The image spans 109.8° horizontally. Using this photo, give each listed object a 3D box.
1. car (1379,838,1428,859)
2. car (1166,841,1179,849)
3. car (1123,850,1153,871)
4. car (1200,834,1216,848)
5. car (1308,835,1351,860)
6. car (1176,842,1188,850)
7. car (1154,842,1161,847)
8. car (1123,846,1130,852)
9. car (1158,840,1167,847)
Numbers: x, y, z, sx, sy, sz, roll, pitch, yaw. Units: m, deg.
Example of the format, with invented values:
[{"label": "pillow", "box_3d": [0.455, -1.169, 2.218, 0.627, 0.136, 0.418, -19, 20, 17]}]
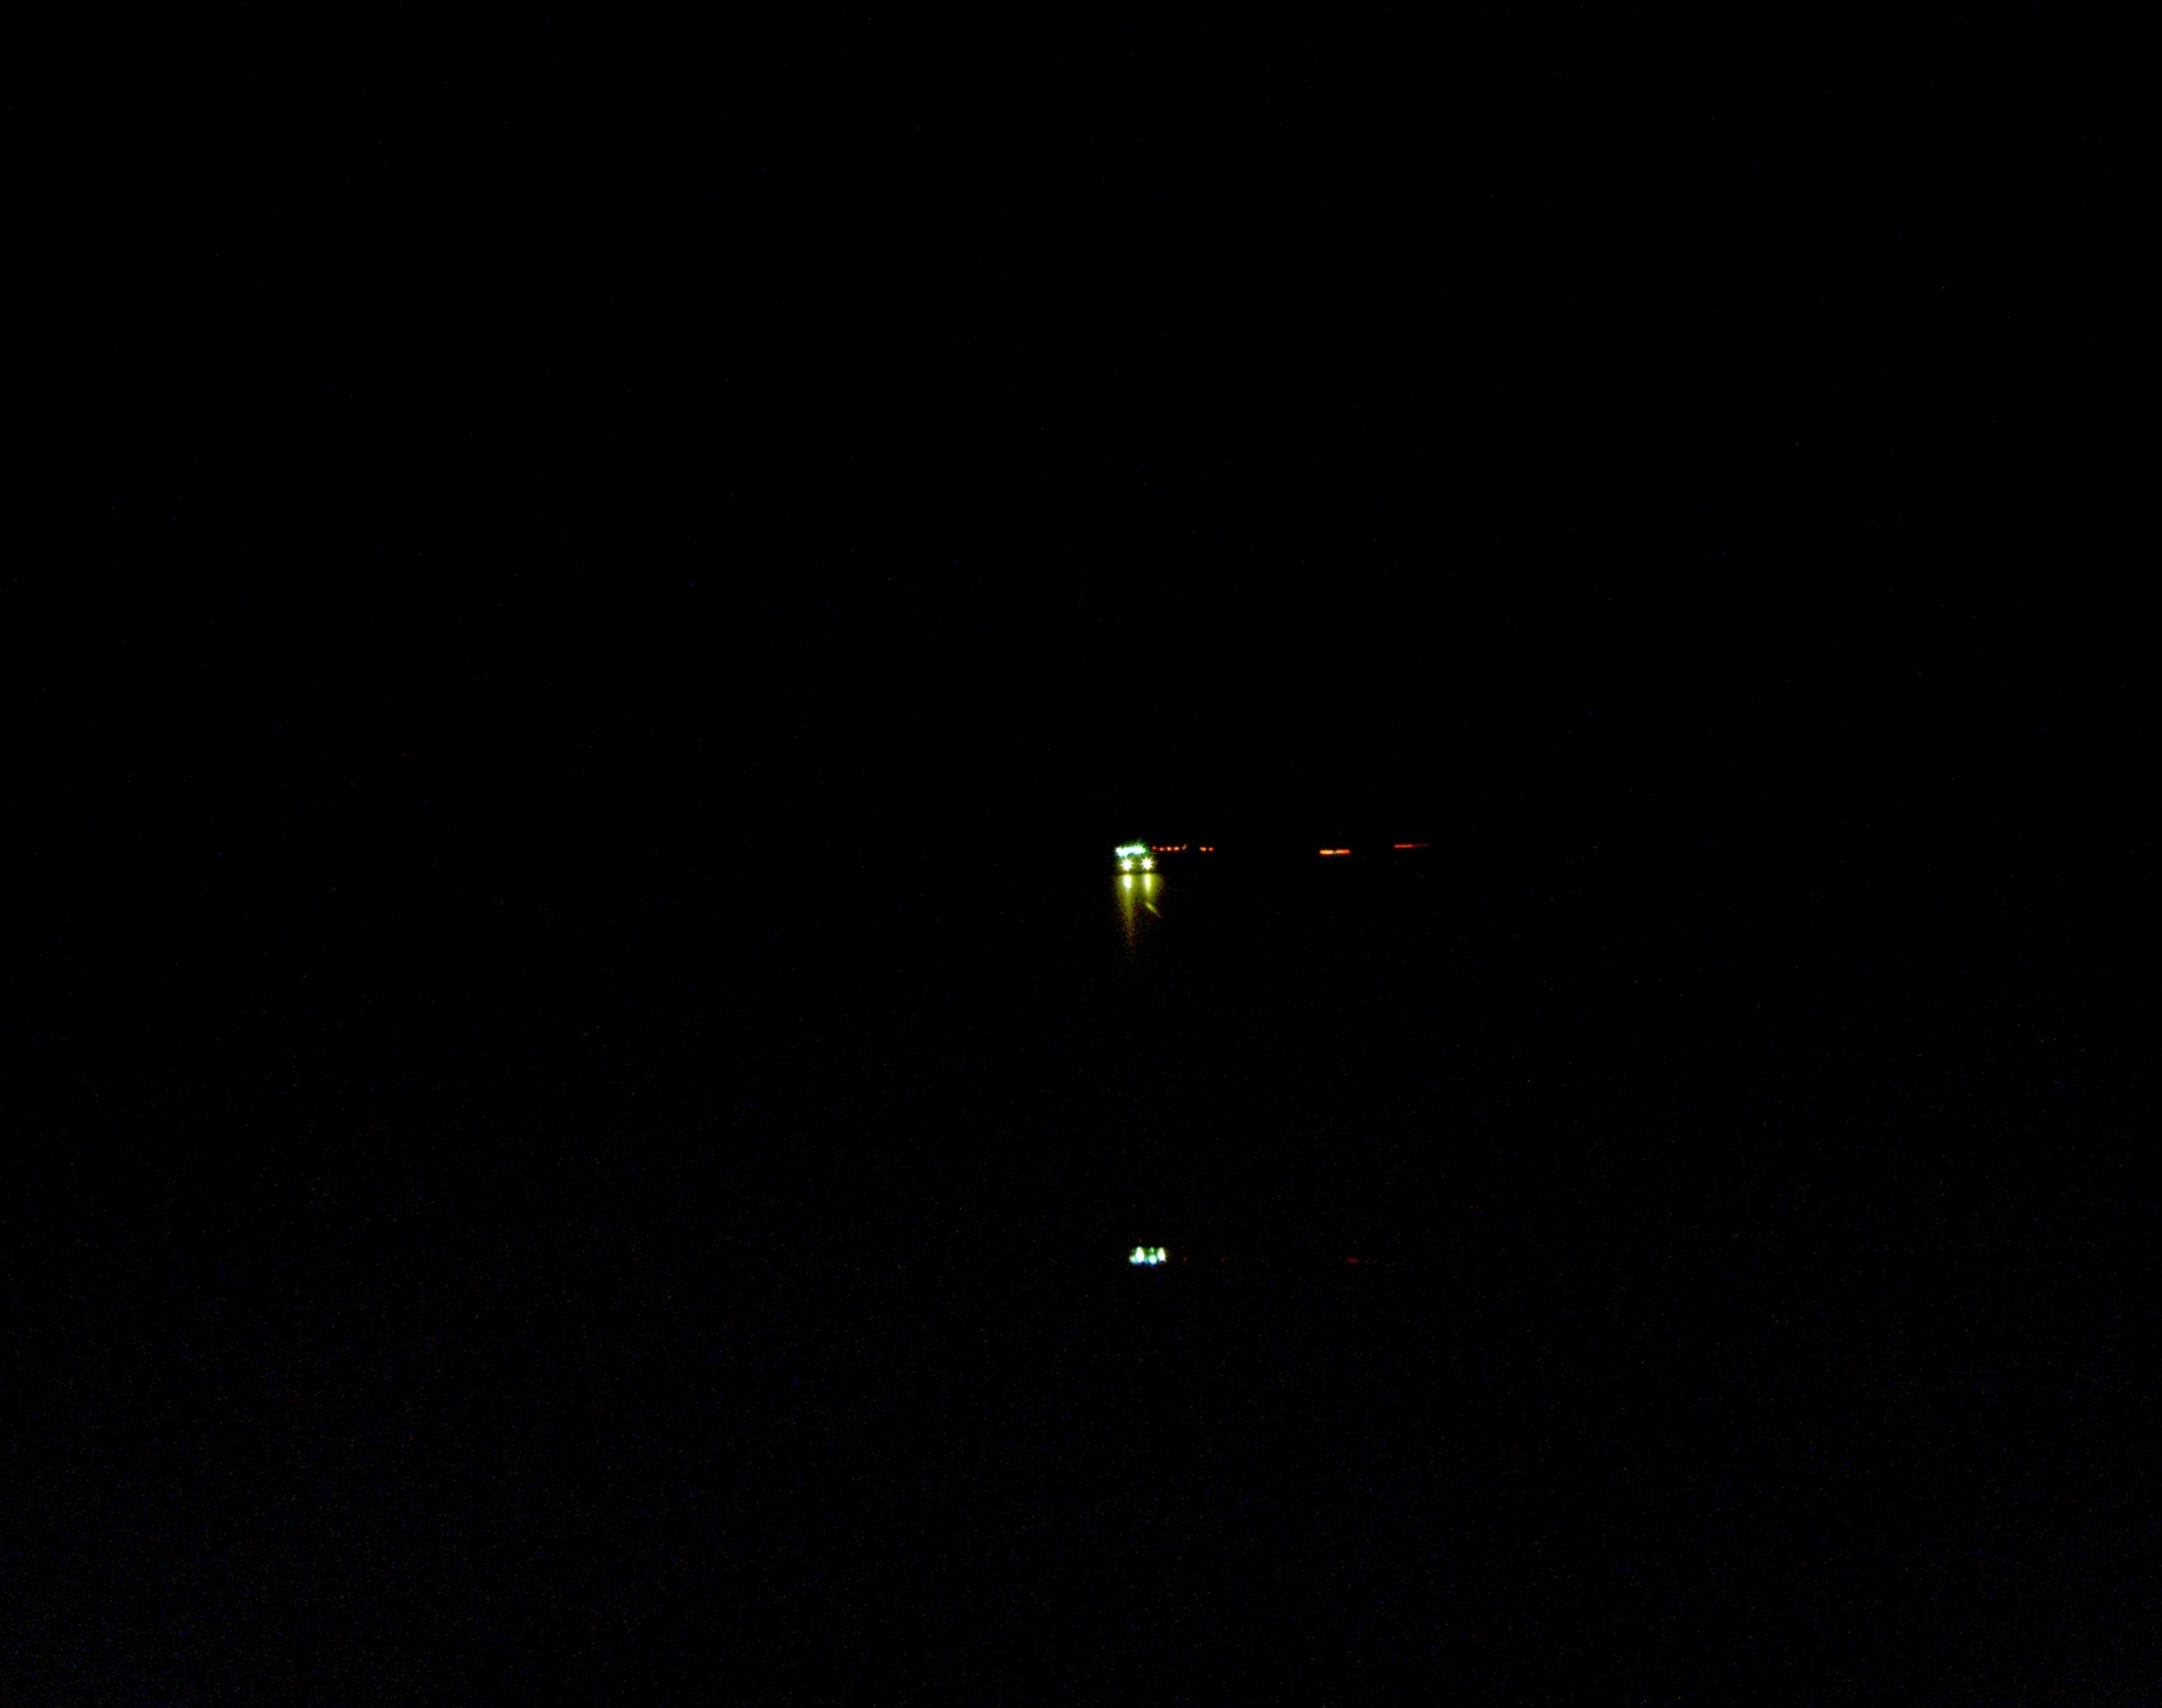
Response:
[{"label": "car", "box_3d": [23.979, -0.403, 56.732, 1.778, 1.421, 4.659, -3, 1, 2]}, {"label": "car", "box_3d": [22.068, -2.213, 183.307, 2.151, 1.874, 5.422, -3, 1, -1]}, {"label": "car", "box_3d": [4.354, 0.484, 58.264, 1.998, 1.422, 4.330, -3, 0, 1]}, {"label": "car", "box_3d": [28.438, -2.890, 170.652, 2.464, 2.919, 8.333, -3, 1, 2]}, {"label": "car", "box_3d": [20.271, -0.519, 62.183, 2.109, 1.874, 4.659, -3, 1, 2]}, {"label": "car", "box_3d": [21.318, -1.685, 160.731, 1.998, 1.724, 4.659, -3, 1, 2]}, {"label": "car", "box_3d": [26.595, -3.412, 264.353, 1.998, 1.724, 4.659, -3, 1, 3]}, {"label": "car", "box_3d": [13.724, -1.603, 228.616, 1.998, 1.724, 4.225, -3, 0, 2]}, {"label": "car", "box_3d": [23.071, -2.998, 215.231, 1.998, 1.724, 4.659, -3, 1, 3]}]
